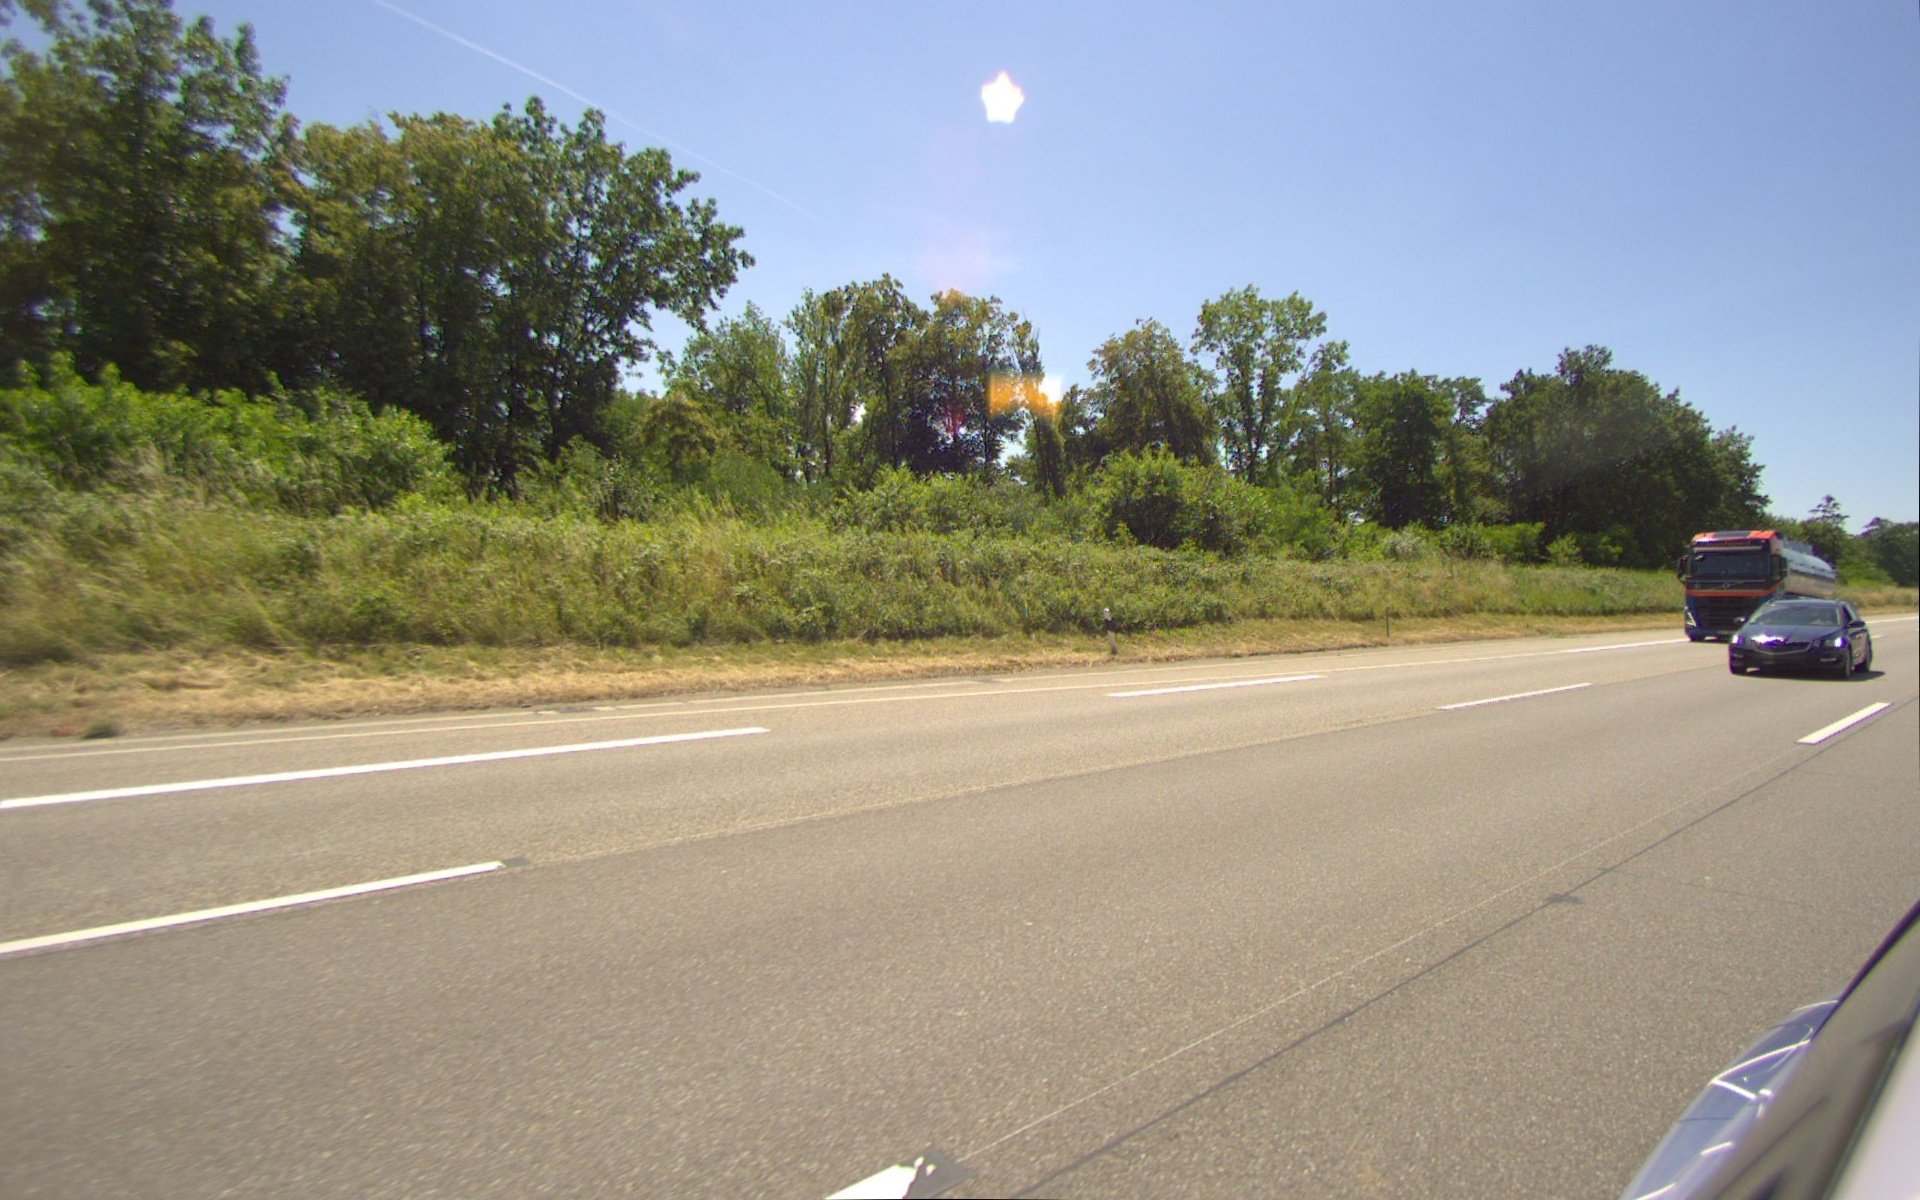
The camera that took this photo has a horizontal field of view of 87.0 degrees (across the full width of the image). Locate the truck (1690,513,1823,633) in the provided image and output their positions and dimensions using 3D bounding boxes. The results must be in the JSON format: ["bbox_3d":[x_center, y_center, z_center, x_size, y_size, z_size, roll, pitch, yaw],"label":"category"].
[{"bbox_3d":[27.447,-0.875,34.802,5.992,3.781,2.533,0,0,-41],"label":"truck"}]

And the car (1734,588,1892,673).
[{"bbox_3d":[16.826,0.526,19.907,4.198,1.502,1.804,0,0,-42],"label":"car"}]

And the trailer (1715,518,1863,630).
[{"bbox_3d":[31.929,-0.905,38.727,11.347,3.781,2.533,0,0,-41],"label":"trailer"}]
